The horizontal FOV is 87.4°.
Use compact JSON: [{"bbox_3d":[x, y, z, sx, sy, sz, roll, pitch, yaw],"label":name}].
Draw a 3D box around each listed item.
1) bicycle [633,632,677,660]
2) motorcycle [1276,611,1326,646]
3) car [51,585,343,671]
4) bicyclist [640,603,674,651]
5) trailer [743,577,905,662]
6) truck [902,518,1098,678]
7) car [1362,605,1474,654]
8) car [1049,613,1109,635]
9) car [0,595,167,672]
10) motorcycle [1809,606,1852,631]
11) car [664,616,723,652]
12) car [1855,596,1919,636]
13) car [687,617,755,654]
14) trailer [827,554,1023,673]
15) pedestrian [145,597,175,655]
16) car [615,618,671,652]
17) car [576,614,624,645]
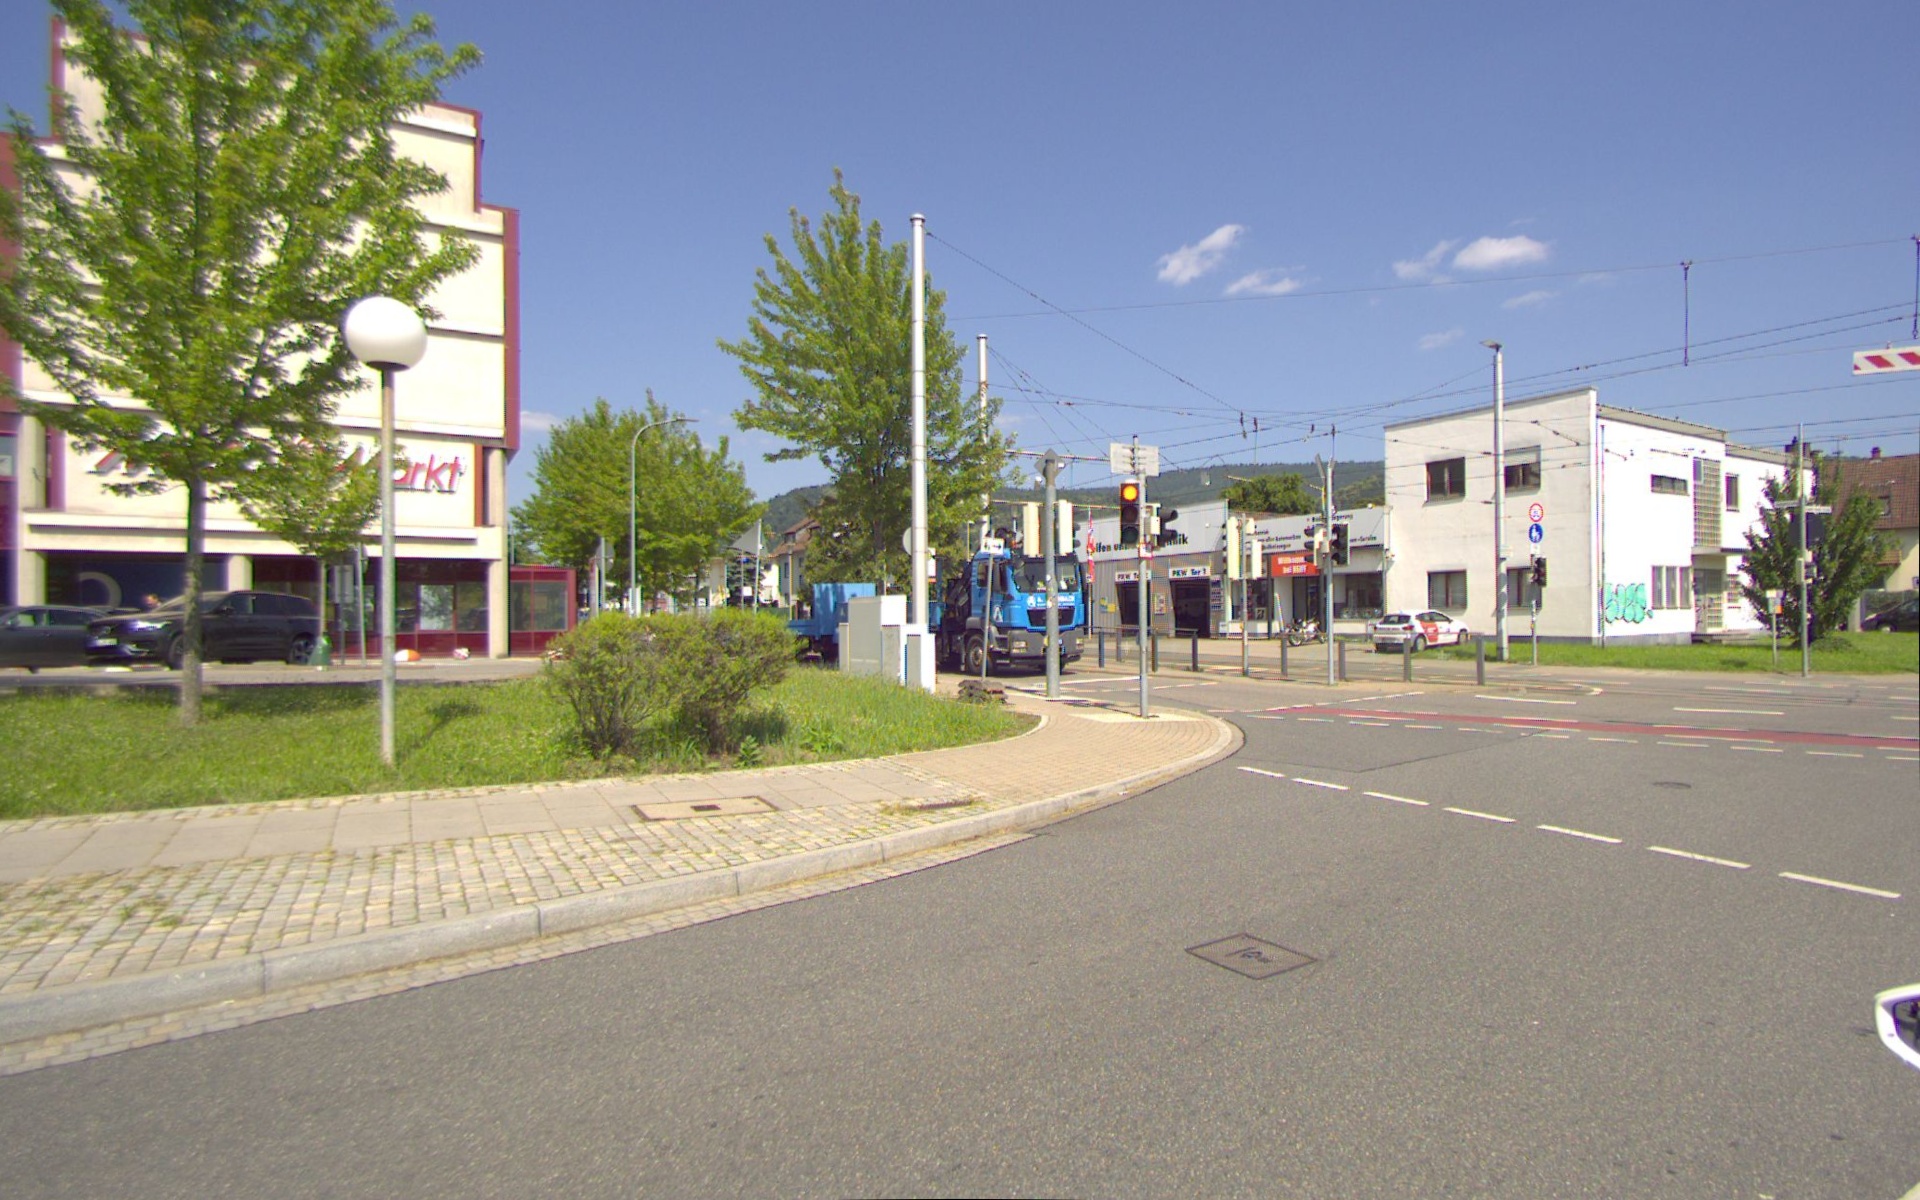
[{"bbox_3d":[-9.592,1.441,31.686,0.714,0.804,1.843,2,0,3],"label":"bicycle"},{"bbox_3d":[14.200,1.169,41.807,2.166,1.326,0.725,-4,1,-33],"label":"motorcycle"},{"bbox_3d":[-16.409,0.683,22.068,2.143,1.615,5.120,-2,-3,7],"label":"car"},{"bbox_3d":[-9.574,0.841,31.762,0.708,1.467,0.923,2,0,4],"label":"bicyclist"},{"bbox_3d":[-4.966,0.642,35.237,2.775,2.663,7.534,0,0,-32],"label":"trailer"},{"bbox_3d":[0.892,-0.025,25.693,2.721,3.657,4.997,0,0,-31],"label":"truck"},{"bbox_3d":[16.775,1.046,36.752,3.956,1.482,1.873,-4,1,-33],"label":"car"},{"bbox_3d":[7.890,1.568,66.490,3.736,1.394,1.708,0,0,-36],"label":"car"},{"bbox_3d":[-19.413,0.685,20.582,1.879,1.512,4.873,0,-2,12],"label":"car"},{"bbox_3d":[38.809,0.810,44.767,2.542,1.046,0.846,2,0,-35],"label":"motorcycle"},{"bbox_3d":[-13.239,1.642,49.776,1.709,1.605,4.037,-3,1,-31],"label":"car"},{"bbox_3d":[45.017,0.740,46.443,1.983,1.840,5.207,0,-2,-39],"label":"car"},{"bbox_3d":[-10.774,1.560,45.118,1.709,1.492,4.243,-2,0,-31],"label":"car"},{"bbox_3d":[-1.223,0.382,29.154,2.721,3.017,6.840,0,0,-31],"label":"trailer"},{"bbox_3d":[-19.028,0.610,23.898,0.516,1.374,0.458,0,-1,-36],"label":"pedestrian"},{"bbox_3d":[-14.674,1.582,46.397,1.708,1.482,3.874,2,-1,-29],"label":"car"},{"bbox_3d":[-18.711,1.509,52.118,1.745,1.539,3.969,0,-1,-30],"label":"car"}]
